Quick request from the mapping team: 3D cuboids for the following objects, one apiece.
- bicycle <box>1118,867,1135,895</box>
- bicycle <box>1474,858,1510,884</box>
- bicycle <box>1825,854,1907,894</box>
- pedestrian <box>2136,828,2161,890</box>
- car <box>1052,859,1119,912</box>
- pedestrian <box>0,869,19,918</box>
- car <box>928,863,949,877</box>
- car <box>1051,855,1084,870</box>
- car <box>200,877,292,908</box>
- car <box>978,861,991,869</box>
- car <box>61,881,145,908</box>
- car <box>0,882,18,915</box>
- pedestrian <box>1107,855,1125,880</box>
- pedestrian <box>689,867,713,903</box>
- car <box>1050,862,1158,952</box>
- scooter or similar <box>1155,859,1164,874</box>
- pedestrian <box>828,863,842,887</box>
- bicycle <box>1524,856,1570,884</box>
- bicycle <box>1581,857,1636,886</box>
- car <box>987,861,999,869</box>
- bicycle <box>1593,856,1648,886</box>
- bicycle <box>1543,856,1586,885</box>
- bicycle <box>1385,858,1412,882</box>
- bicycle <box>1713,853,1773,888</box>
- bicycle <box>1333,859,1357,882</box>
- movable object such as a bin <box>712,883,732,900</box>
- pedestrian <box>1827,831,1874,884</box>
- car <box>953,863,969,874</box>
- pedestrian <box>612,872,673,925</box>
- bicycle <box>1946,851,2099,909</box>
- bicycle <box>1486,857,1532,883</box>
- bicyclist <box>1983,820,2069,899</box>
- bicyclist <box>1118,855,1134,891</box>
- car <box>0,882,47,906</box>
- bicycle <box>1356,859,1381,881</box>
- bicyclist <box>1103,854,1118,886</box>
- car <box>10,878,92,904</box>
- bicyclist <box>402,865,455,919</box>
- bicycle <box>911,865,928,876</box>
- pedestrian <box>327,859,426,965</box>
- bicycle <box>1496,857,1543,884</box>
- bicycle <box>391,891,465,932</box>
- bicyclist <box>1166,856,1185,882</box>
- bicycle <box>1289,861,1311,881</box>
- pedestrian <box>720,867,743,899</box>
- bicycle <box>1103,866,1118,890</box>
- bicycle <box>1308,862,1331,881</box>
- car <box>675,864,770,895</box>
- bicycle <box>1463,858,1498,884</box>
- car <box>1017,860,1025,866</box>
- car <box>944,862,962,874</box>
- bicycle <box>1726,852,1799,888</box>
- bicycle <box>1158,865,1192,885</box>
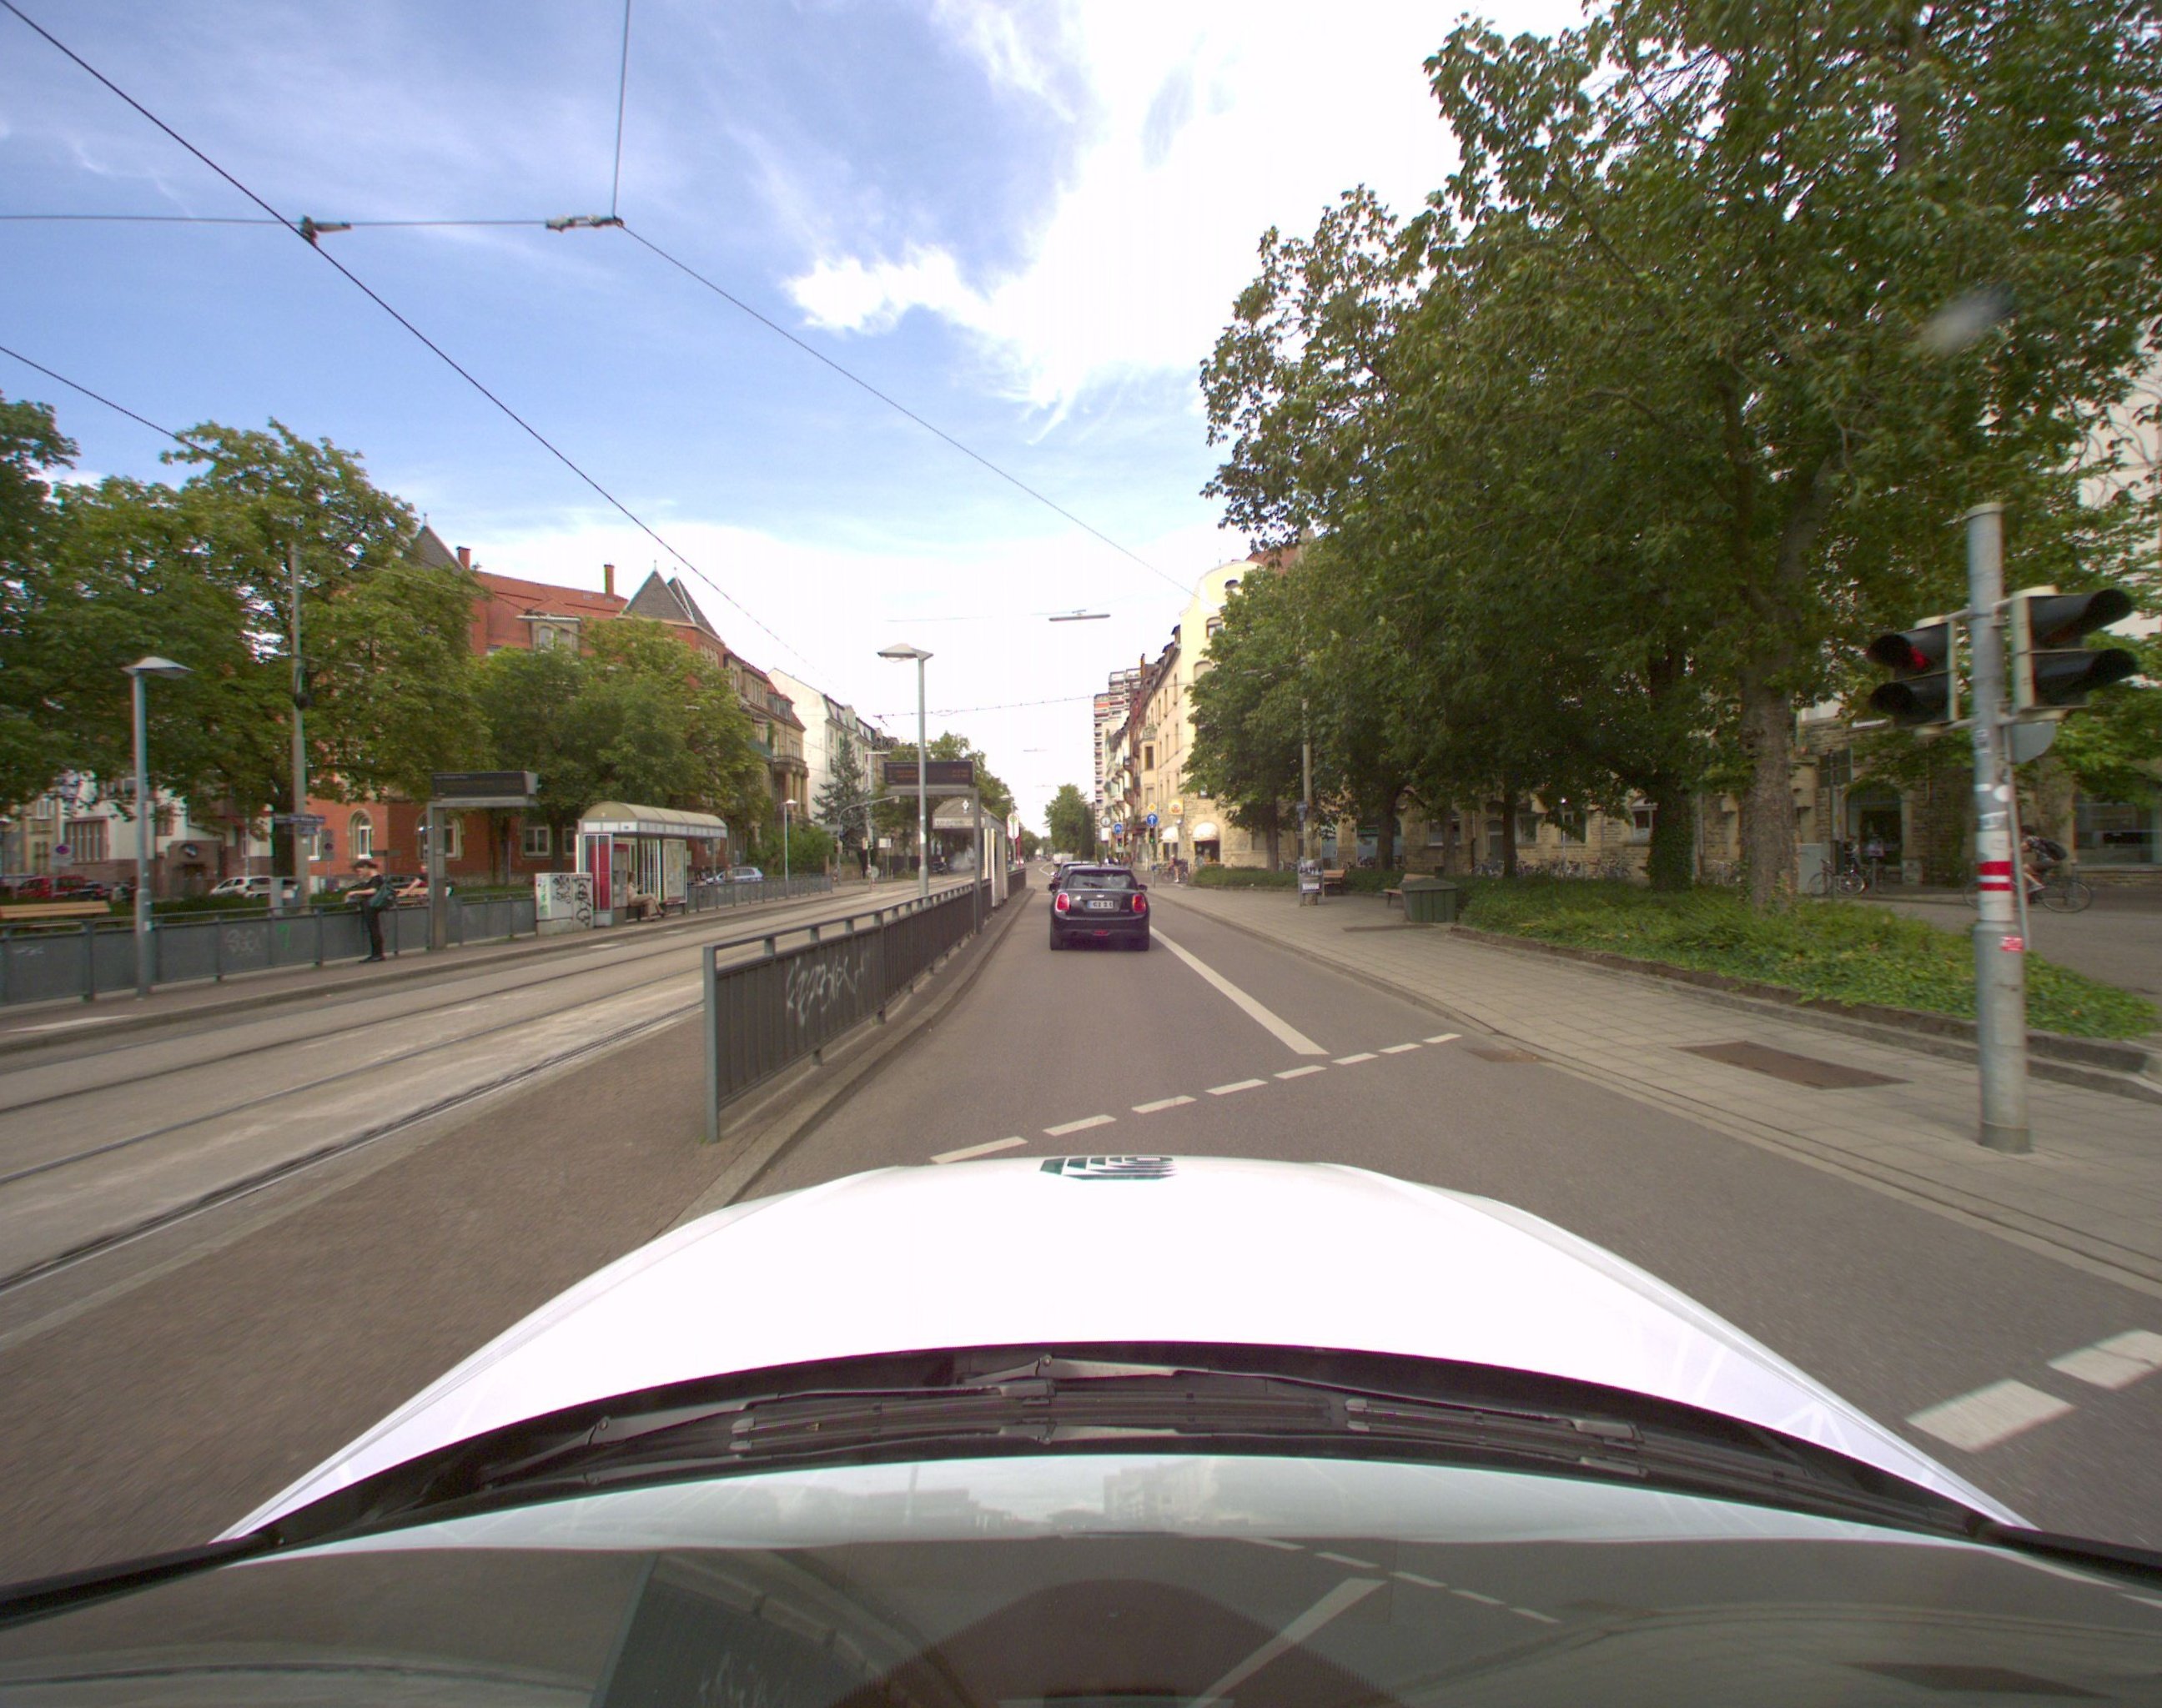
[{"bbox_3d":[2.022,1.199,36.377,0.597,1.170,1.695,-2,0,-1],"label":"bicycle"},{"bbox_3d":[18.888,0.770,37.428,1.901,1.128,0.527,-3,0,-33],"label":"bicycle"},{"bbox_3d":[22.919,0.577,23.790,1.882,1.128,0.532,-1,-1,-1],"label":"bicycle"},{"bbox_3d":[28.790,0.117,21.506,0.826,1.623,0.736,-2,-1,18],"label":"pedestrian"},{"bbox_3d":[0.124,0.927,25.818,1.921,1.510,3.999,-1,0,-1],"label":"car"},{"bbox_3d":[-39.440,1.438,29.617,0.745,1.754,0.736,-2,0,17],"label":"pedestrian"},{"bbox_3d":[-15.956,1.781,91.341,1.762,1.395,3.996,-1,0,-2],"label":"car"},{"bbox_3d":[-2.268,1.431,136.047,5.067,2.272,2.368,-1,-1,-42],"label":"car"},{"bbox_3d":[-42.564,1.966,41.523,3.953,1.478,1.825,-2,-1,21],"label":"car"},{"bbox_3d":[-18.198,2.079,152.974,1.988,1.552,3.998,-1,0,-1],"label":"car"},{"bbox_3d":[-54.939,2.289,45.764,3.953,1.395,1.825,-2,-1,21],"label":"car"},{"bbox_3d":[-47.445,1.940,33.565,1.794,1.395,4.020,-2,0,20],"label":"car"},{"bbox_3d":[2.406,0.936,55.992,0.723,1.674,0.840,-5,0,45],"label":"pedestrian"},{"bbox_3d":[-18.613,1.509,39.931,0.832,1.703,0.731,-1,0,-7],"label":"pedestrian"},{"bbox_3d":[0.346,0.875,15.233,1.746,1.441,3.998,0,0,-1],"label":"car"},{"bbox_3d":[6.254,0.972,65.044,0.507,1.188,1.261,-2,0,-1],"label":"scooter or similar"},{"bbox_3d":[-18.426,1.559,60.985,0.728,1.783,0.835,-1,0,-1],"label":"pedestrian"},{"bbox_3d":[20.090,0.695,35.110,1.893,1.128,0.579,-1,-1,-19],"label":"bicycle"},{"bbox_3d":[21.102,0.697,32.587,1.885,1.128,0.532,-1,-1,-6],"label":"bicycle"},{"bbox_3d":[-18.263,2.243,169.204,1.988,1.552,3.998,-1,0,-1],"label":"car"},{"bbox_3d":[21.197,0.664,32.006,1.885,1.128,0.532,-1,-1,-6],"label":"bicycle"},{"bbox_3d":[20.409,0.685,34.363,1.896,1.128,0.590,-1,-1,-25],"label":"bicycle"},{"bbox_3d":[15.988,0.805,41.024,0.659,1.128,1.905,-2,-1,40],"label":"bicycle"},{"bbox_3d":[22.532,0.560,27.723,1.890,1.128,0.530,-1,-1,-13],"label":"bicycle"},{"bbox_3d":[13.965,0.864,43.053,0.526,1.128,1.905,-2,-1,40],"label":"bicycle"},{"bbox_3d":[-18.403,1.926,41.754,0.727,0.799,0.620,-1,0,-7],"label":"movable object such as a bin"},{"bbox_3d":[25.141,0.107,26.616,0.731,1.676,0.832,-1,-1,-11],"label":"pedestrian"},{"bbox_3d":[-16.336,1.929,111.025,1.762,1.395,3.996,-1,0,-2],"label":"car"},{"bbox_3d":[-11.327,1.144,21.079,1.057,1.294,0.983,-1,-1,-7],"label":"pedestrian"},{"bbox_3d":[19.994,0.540,17.343,0.658,1.152,2.079,-1,0,-38],"label":"bicycle"},{"bbox_3d":[19.314,0.720,36.732,1.888,1.128,0.561,-1,-1,-11],"label":"bicycle"},{"bbox_3d":[20.037,0.121,17.277,0.649,1.606,1.126,-1,0,-38],"label":"bicyclist"},{"bbox_3d":[1.999,0.841,36.375,0.593,1.550,1.013,-2,0,-1],"label":"bicyclist"},{"bbox_3d":[-64.812,2.420,49.194,3.953,1.395,1.825,-2,-1,21],"label":"car"},{"bbox_3d":[14.916,0.825,42.206,0.526,1.128,1.905,-2,-1,40],"label":"bicycle"},{"bbox_3d":[1.484,0.794,41.169,0.681,1.564,0.998,-2,0,0],"label":"bicyclist"},{"bbox_3d":[-60.125,2.155,47.546,3.953,1.395,1.825,-2,-1,21],"label":"car"},{"bbox_3d":[-16.804,0.973,20.988,0.659,1.339,0.835,-1,-1,-2],"label":"bicyclist"},{"bbox_3d":[-16.626,1.723,83.845,1.681,1.119,0.566,-1,0,-41],"label":"bicycle"},{"bbox_3d":[-11.306,0.906,13.107,0.851,1.621,0.841,-1,-1,-7],"label":"pedestrian"},{"bbox_3d":[19.469,0.712,36.151,1.888,1.128,0.596,-1,-1,-11],"label":"bicycle"},{"bbox_3d":[-16.789,1.470,20.986,0.659,0.949,1.549,-1,0,-1],"label":"bicycle"},{"bbox_3d":[5.481,0.875,47.122,0.904,1.473,0.620,-2,0,20],"label":"bicyclist"},{"bbox_3d":[12.157,0.946,45.186,0.444,1.055,1.659,-2,-1,40],"label":"bicycle"},{"bbox_3d":[-18.099,1.505,42.141,0.868,1.633,0.743,-1,0,-7],"label":"pedestrian"},{"bbox_3d":[1.492,1.187,41.139,0.681,1.170,1.696,-2,0,1],"label":"bicycle"},{"bbox_3d":[12.992,0.943,44.374,0.526,0.972,1.659,-2,-1,40],"label":"bicycle"},{"bbox_3d":[-20.164,1.425,45.962,2.184,1.578,4.375,-2,0,42],"label":"car"},{"bbox_3d":[18.619,0.785,37.904,1.901,1.128,0.527,-2,0,-33],"label":"bicycle"},{"bbox_3d":[-14.524,2.278,197.128,1.762,1.395,3.996,-1,0,-2],"label":"car"},{"bbox_3d":[-16.166,1.778,103.359,1.762,1.395,3.996,-1,0,-2],"label":"car"},{"bbox_3d":[22.439,0.513,26.817,1.879,1.128,0.533,-1,-1,3],"label":"bicycle"},{"bbox_3d":[5.453,1.218,47.137,1.800,1.076,0.620,-2,0,20],"label":"bicycle"}]
